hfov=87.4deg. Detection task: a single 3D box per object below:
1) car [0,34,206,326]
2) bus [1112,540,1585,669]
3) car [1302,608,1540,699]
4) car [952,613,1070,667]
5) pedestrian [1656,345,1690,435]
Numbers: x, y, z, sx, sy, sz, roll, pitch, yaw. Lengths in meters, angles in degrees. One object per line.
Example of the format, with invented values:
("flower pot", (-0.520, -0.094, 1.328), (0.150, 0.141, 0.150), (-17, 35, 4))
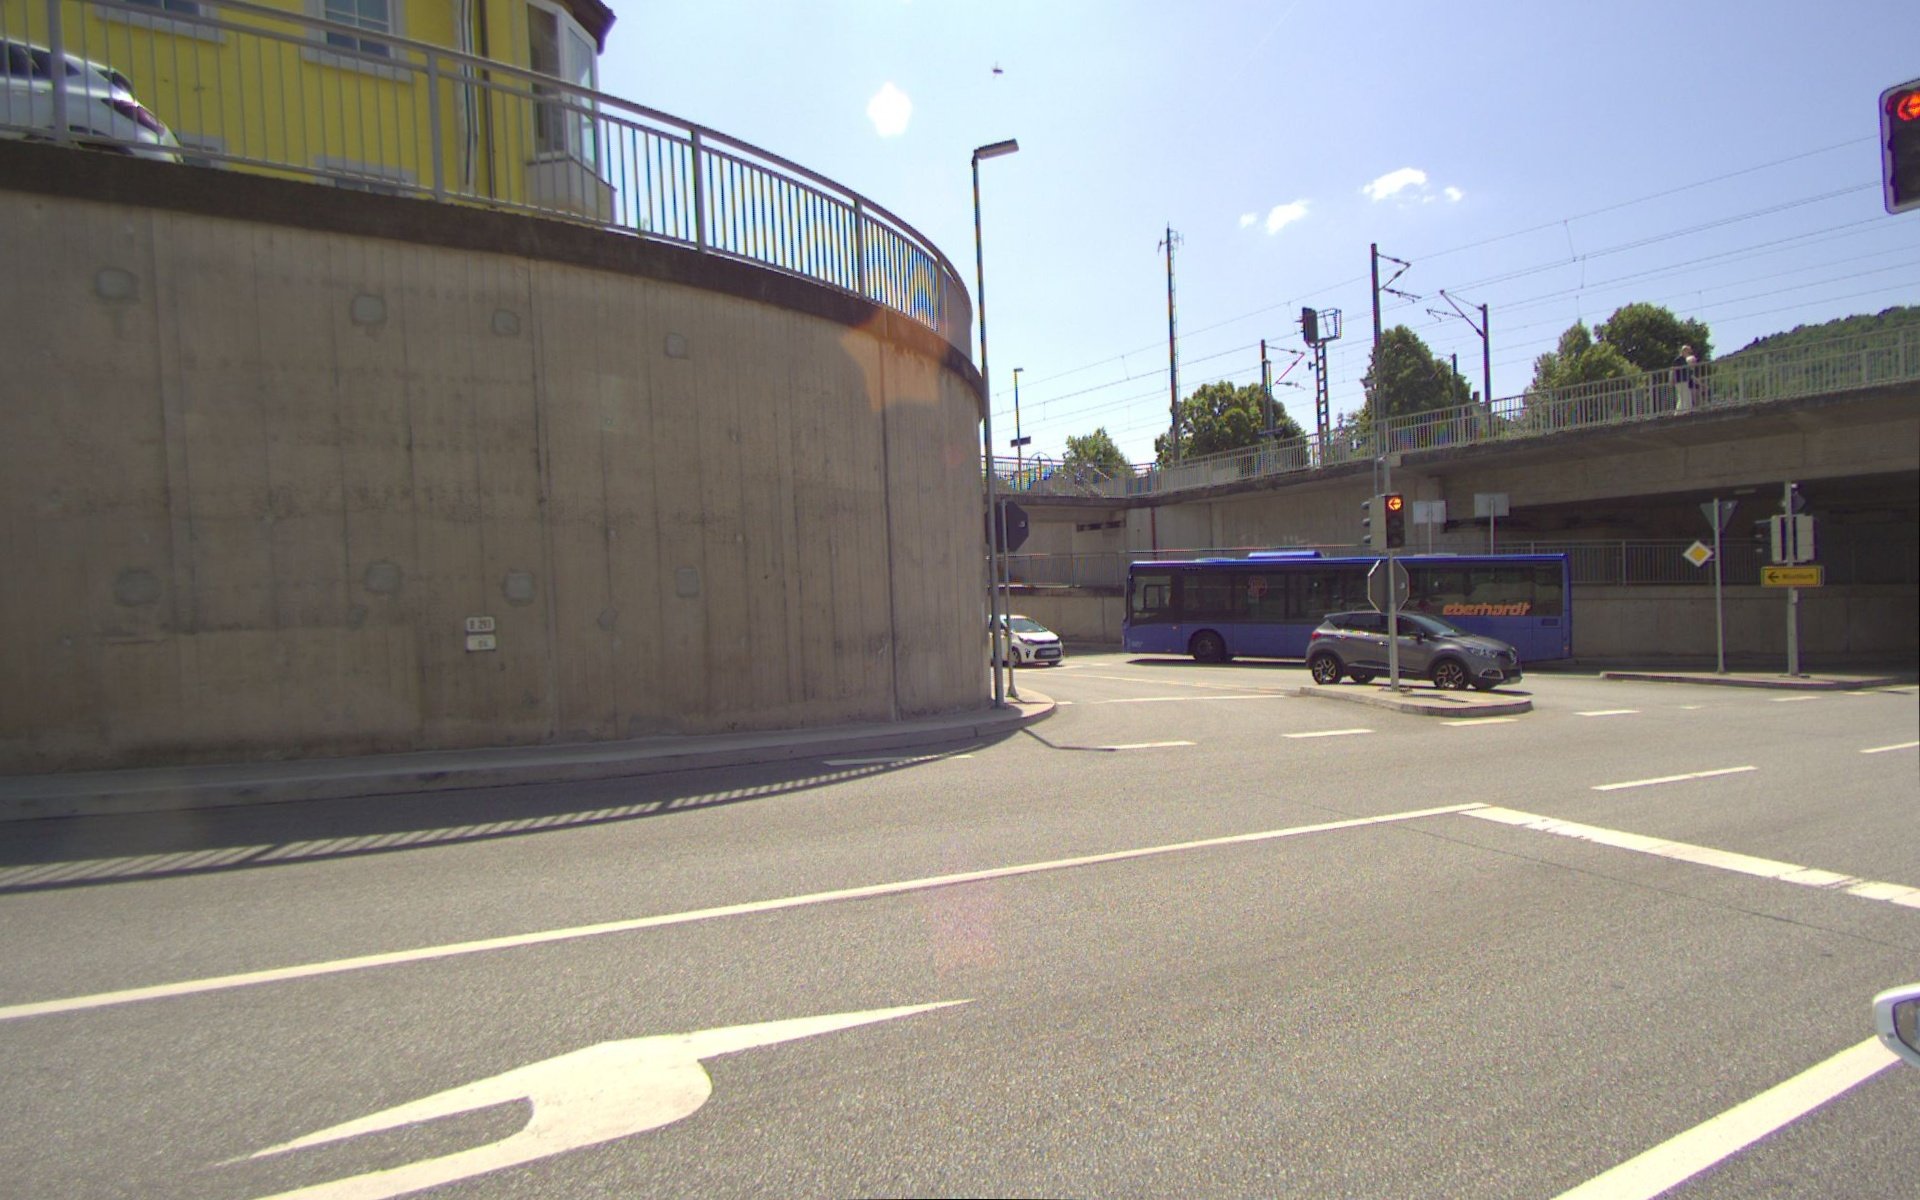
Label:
("car", (-8.723, -3.533, 8.139), (3.955, 1.690, 1.892), (-1, 1, -32))
("bus", (10.621, 0.184, 28.796), (12.144, 3.215, 2.586), (-1, 1, 26))
("car", (9.289, 0.999, 20.483), (1.983, 1.610, 3.955), (-2, 1, -39))
("car", (1.480, 1.156, 30.594), (1.711, 1.439, 3.967), (-2, 1, -31))
("pedestrian", (18.258, -5.360, 25.716), (0.531, 2.108, 0.571), (1, -1, -40))
